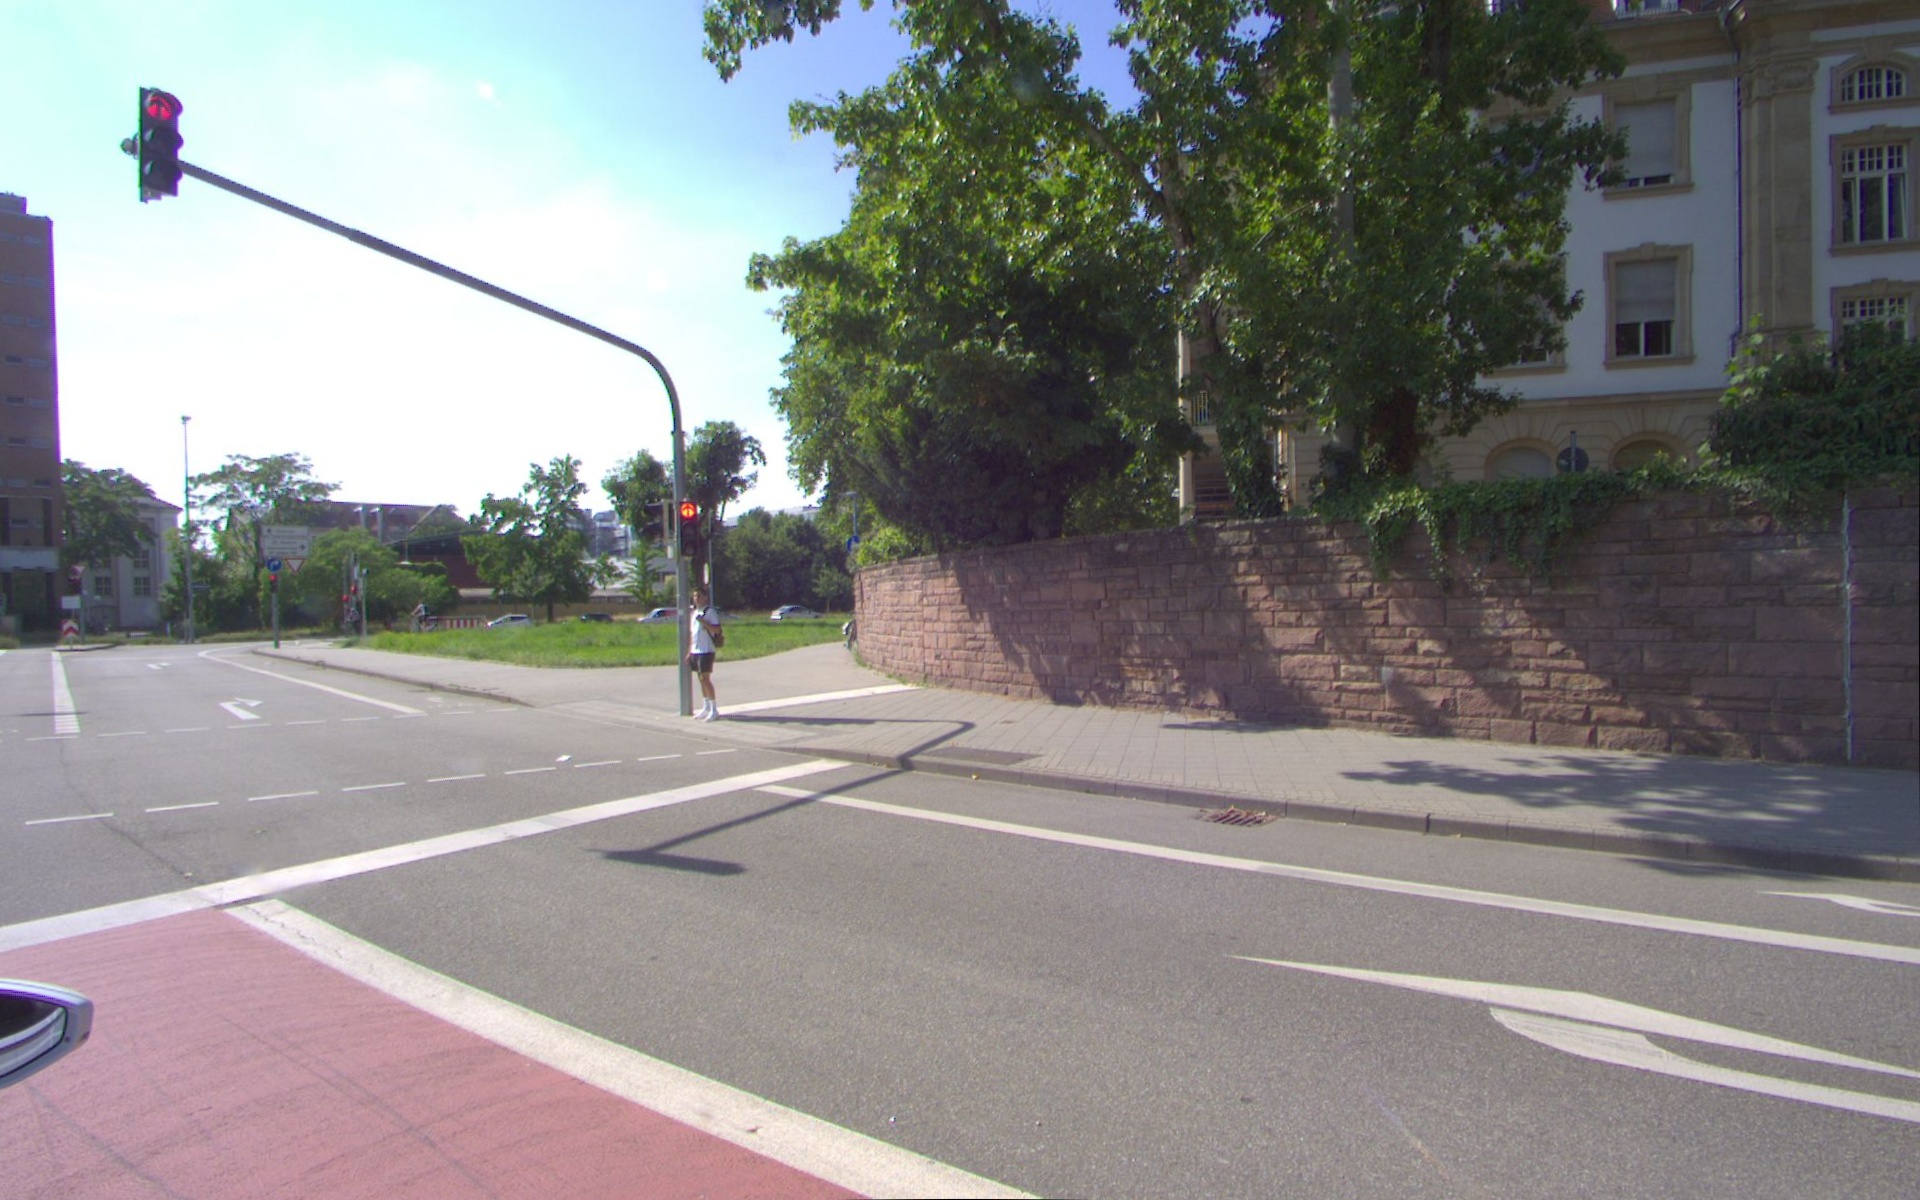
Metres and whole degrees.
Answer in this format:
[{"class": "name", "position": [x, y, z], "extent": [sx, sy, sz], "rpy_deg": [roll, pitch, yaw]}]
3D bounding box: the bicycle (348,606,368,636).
[{"class": "bicycle", "position": [-36.666, 1.246, 60.936], "extent": [0.673, 1.789, 1.794], "rpy_deg": [-2, 1, -42]}]

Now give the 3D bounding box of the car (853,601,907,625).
[{"class": "car", "position": [-6.257, 1.045, 78.470], "extent": [3.964, 1.525, 1.737], "rpy_deg": [7, -7, -42]}]

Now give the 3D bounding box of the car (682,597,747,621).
[{"class": "car", "position": [-16.928, 0.604, 69.139], "extent": [3.958, 1.528, 1.736], "rpy_deg": [-2, 1, -42]}]

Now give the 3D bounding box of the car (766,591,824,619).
[{"class": "car", "position": [-12.720, 0.414, 77.264], "extent": [3.950, 2.039, 1.987], "rpy_deg": [1, -2, -35]}]

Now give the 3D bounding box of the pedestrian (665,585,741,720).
[{"class": "pedestrian", "position": [-3.744, 0.743, 14.615], "extent": [0.784, 1.900, 0.650], "rpy_deg": [0, 3, 29]}]

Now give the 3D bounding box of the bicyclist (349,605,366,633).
[{"class": "bicyclist", "position": [-36.630, 1.144, 60.892], "extent": [0.673, 1.678, 0.910], "rpy_deg": [-2, 2, -42]}]

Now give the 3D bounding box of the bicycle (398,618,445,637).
[{"class": "bicycle", "position": [-28.177, 1.424, 52.428], "extent": [2.127, 0.928, 0.674], "rpy_deg": [-1, 1, 5]}]

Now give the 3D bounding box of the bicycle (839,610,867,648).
[{"class": "bicycle", "position": [-3.369, 0.900, 31.400], "extent": [0.344, 1.138, 1.428], "rpy_deg": [-2, 1, -28]}]

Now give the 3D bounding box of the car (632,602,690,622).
[{"class": "car", "position": [-25.219, 1.029, 84.587], "extent": [4.279, 1.590, 1.892], "rpy_deg": [-1, 1, -43]}]

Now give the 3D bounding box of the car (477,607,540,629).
[{"class": "car", "position": [-34.590, 1.372, 76.786], "extent": [3.958, 1.483, 1.982], "rpy_deg": [-1, -1, -43]}]

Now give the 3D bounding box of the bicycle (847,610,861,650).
[{"class": "bicycle", "position": [-3.138, 0.884, 29.732], "extent": [0.342, 1.138, 1.434], "rpy_deg": [-1, 1, -8]}]

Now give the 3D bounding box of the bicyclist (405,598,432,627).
[{"class": "bicyclist", "position": [-28.325, 0.643, 52.394], "extent": [1.120, 1.489, 0.496], "rpy_deg": [0, -1, 5]}]
